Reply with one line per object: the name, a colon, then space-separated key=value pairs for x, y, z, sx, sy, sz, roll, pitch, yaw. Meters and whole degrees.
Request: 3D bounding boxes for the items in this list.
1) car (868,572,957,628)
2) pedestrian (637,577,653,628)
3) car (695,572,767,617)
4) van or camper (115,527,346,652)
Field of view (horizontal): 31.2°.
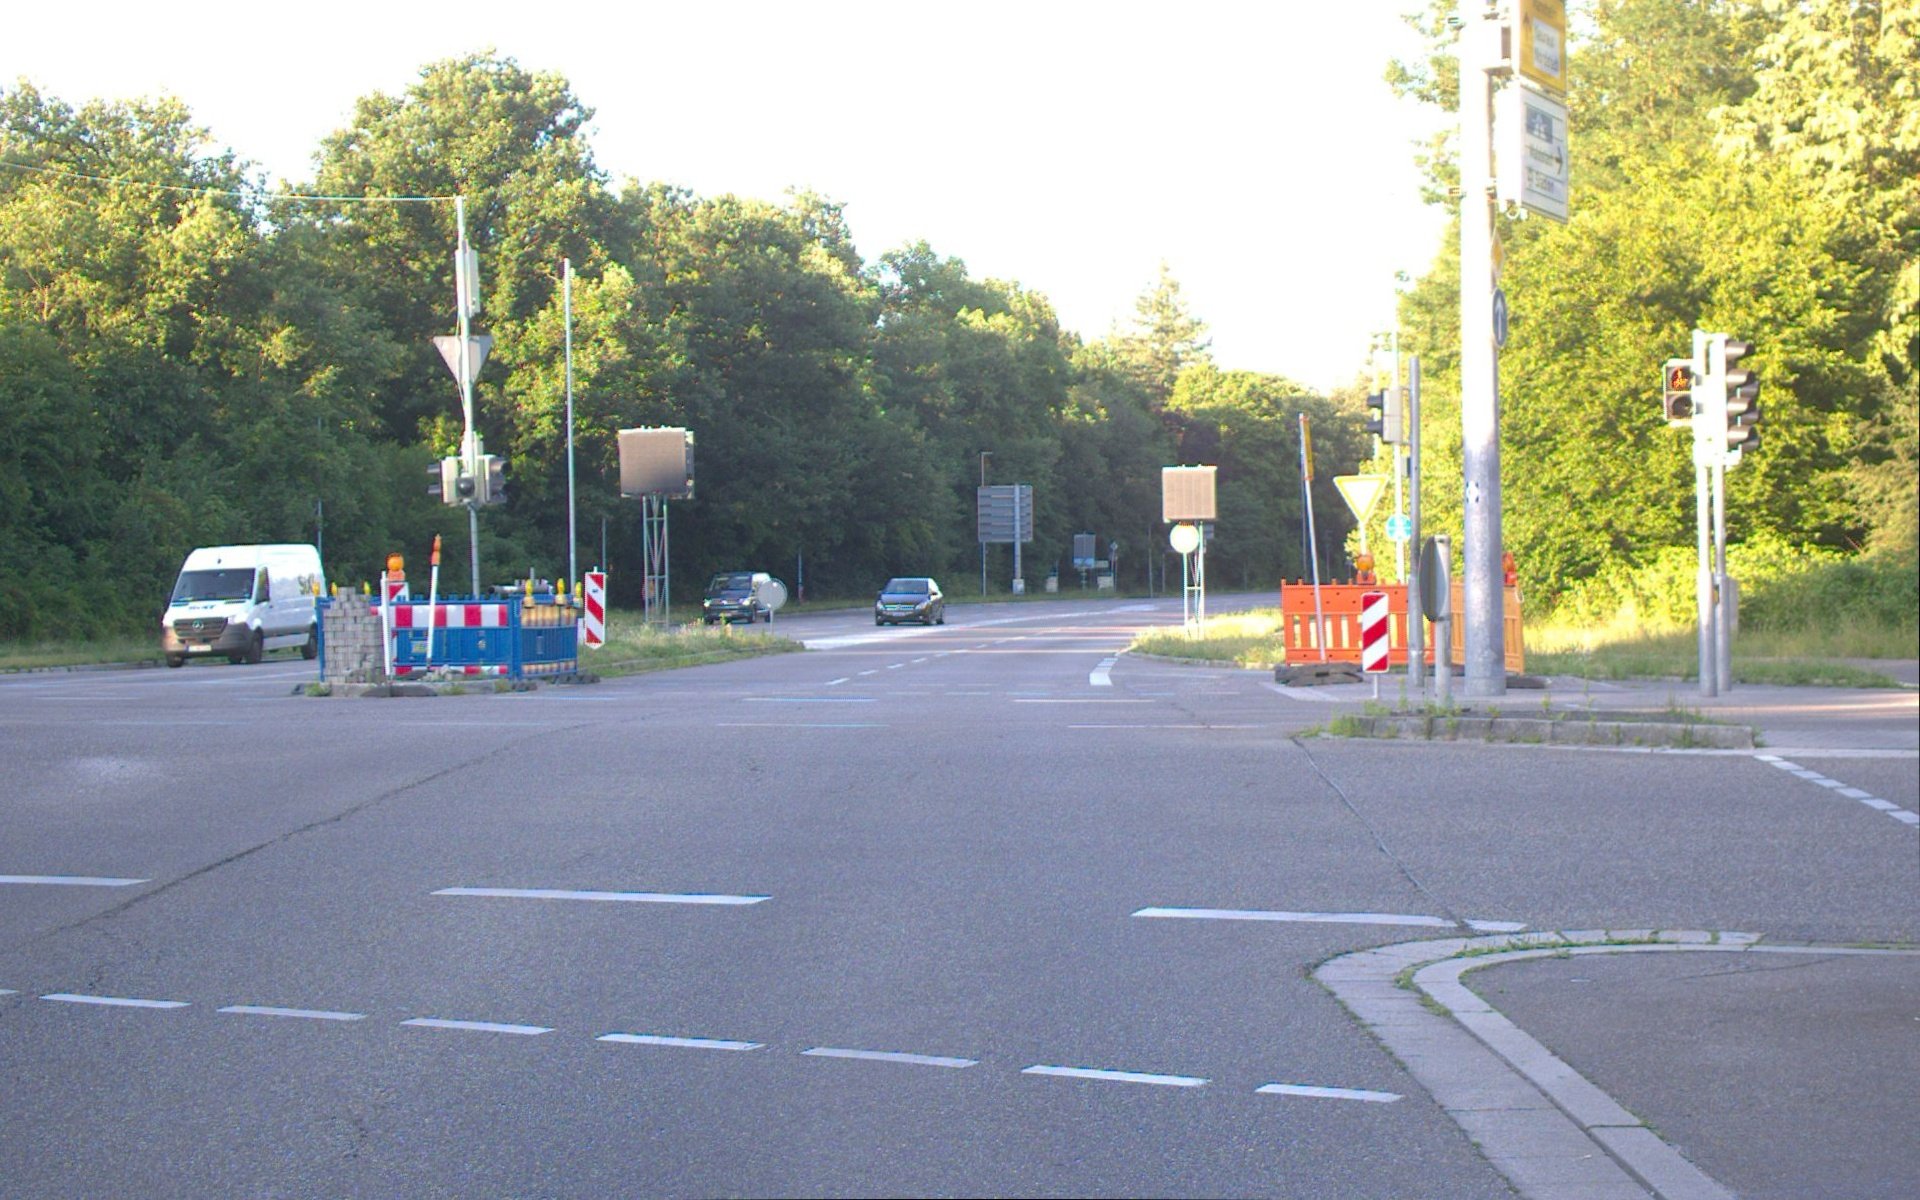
car: x=-1.525 y=-0.006 z=111.764 sx=1.994 sy=1.634 sz=3.998 roll=-2 pitch=2 yaw=12
pedestrian: x=-12.627 y=0.094 z=137.771 sx=0.521 sy=2.007 sz=0.600 roll=1 pitch=0 yaw=-1
car: x=-8.574 y=-0.226 z=129.014 sx=1.994 sy=1.634 sz=3.999 roll=0 pitch=1 yaw=7
van or camper: x=-16.096 y=-0.276 z=76.367 sx=2.886 sy=2.643 sz=7.120 roll=0 pitch=1 yaw=6
